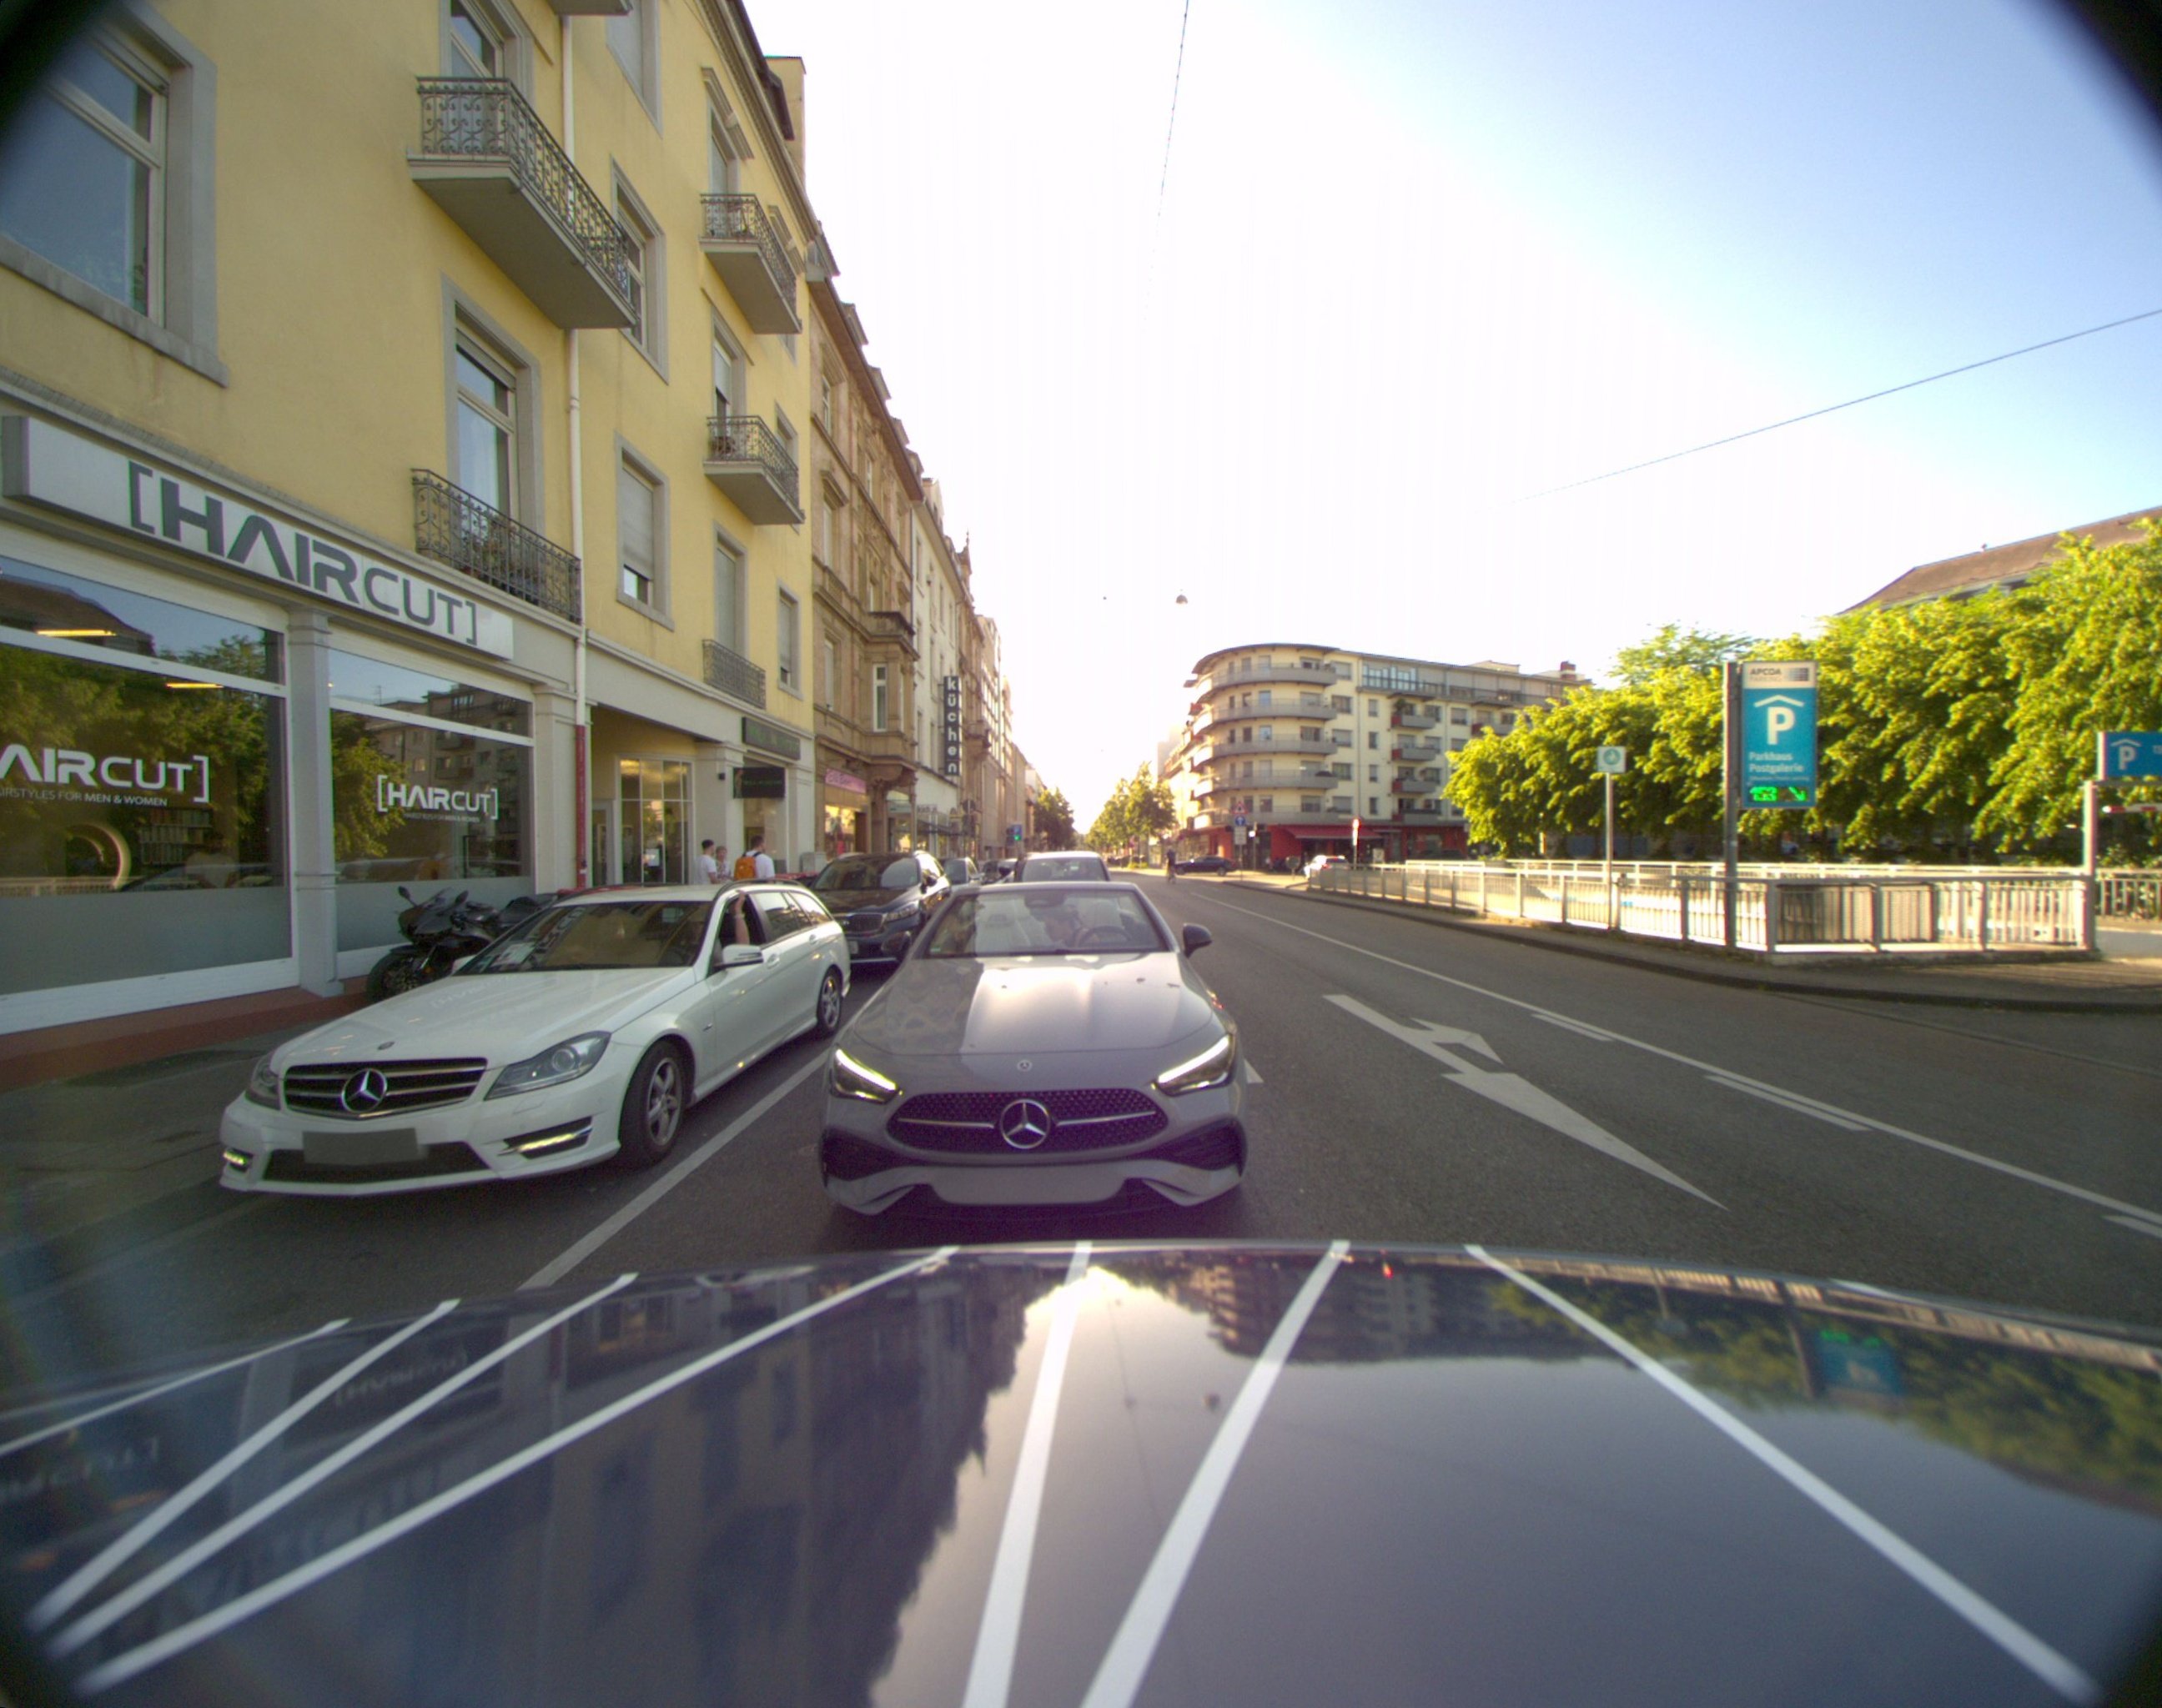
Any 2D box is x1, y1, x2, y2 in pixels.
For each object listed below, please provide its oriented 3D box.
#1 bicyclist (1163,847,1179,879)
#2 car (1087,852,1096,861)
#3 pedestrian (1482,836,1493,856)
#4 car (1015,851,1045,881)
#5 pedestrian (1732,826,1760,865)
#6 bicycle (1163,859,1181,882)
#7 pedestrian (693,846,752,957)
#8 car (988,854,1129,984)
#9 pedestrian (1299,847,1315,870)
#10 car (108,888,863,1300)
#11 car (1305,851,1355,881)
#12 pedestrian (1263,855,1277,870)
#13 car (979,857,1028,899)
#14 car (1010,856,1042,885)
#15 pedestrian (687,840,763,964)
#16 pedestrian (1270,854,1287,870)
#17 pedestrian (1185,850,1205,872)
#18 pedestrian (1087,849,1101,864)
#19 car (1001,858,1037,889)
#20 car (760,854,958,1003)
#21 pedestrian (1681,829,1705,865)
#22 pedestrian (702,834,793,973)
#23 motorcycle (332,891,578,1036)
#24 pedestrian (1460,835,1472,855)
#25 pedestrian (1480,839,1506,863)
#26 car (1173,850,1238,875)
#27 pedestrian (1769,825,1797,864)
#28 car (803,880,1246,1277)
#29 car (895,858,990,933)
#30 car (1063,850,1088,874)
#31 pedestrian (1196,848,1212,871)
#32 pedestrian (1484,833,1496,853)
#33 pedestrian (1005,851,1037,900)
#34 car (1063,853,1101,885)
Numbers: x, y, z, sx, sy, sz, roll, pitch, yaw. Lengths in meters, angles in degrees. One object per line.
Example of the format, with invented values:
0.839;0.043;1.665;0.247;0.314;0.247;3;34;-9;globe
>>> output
4.761;0.465;40.147;0.703;1.700;0.809;1;1;-3;bicyclist
2.296;0.539;166.598;1.836;1.831;3.886;1;1;-2;car
37.172;-0.757;69.528;0.745;1.832;0.685;-1;1;38;pedestrian
-3.154;0.716;47.553;1.695;1.670;3.880;-2;1;-3;car
32.222;-0.392;36.807;0.748;1.852;0.683;-2;1;-13;pedestrian
4.768;0.838;39.874;0.618;1.156;1.957;1;1;-1;bicycle
-6.149;0.795;13.065;0.630;1.826;0.770;-2;1;-7;pedestrian
-0.365;0.895;12.763;1.866;1.658;4.706;-2;1;-2;car
17.123;0.337;57.503;0.960;1.739;1.063;-2;1;27;pedestrian
-3.026;1.073;5.252;1.672;1.364;4.377;-2;1;1;car
13.652;0.619;41.877;1.637;1.521;3.908;-2;1;3;car
14.921;0.665;60.045;0.780;1.191;0.884;-2;1;-10;pedestrian
-3.027;0.903;30.318;1.695;1.482;3.796;-2;1;-3;car
-2.943;0.866;40.955;1.461;1.391;3.362;-2;1;-1;car
-5.664;0.730;12.094;0.975;1.866;0.534;-3;1;-31;pedestrian
15.427;0.653;59.386;0.937;1.191;0.832;-3;1;-24;pedestrian
8.950;0.536;59.694;1.066;1.709;1.083;-1;1;43;pedestrian
1.651;0.366;96.192;1.219;1.826;1.205;-2;1;29;pedestrian
-2.955;0.900;36.686;1.461;1.310;3.363;-2;1;-1;car
-3.013;0.891;11.343;1.806;1.680;4.408;-2;1;-3;car
31.823;-0.386;39.517;0.748;1.832;0.683;-3;1;-21;pedestrian
-4.600;0.645;10.559;0.811;1.812;0.982;-2;2;-5;pedestrian
-6.255;1.024;7.794;0.735;1.124;2.109;2;1;1;motorcycle
36.181;-0.845;71.447;0.685;1.832;0.745;-3;2;-41;pedestrian
28.963;-0.201;53.427;1.275;1.656;1.137;-3;1;-36;pedestrian
8.636;0.573;52.464;4.242;1.521;1.678;-2;1;14;car
33.669;-0.433;36.455;0.748;1.832;0.683;-2;1;-13;pedestrian
-0.281;0.998;5.363;1.769;1.360;4.471;-2;1;-2;car
-3.182;0.906;17.995;1.583;1.514;2.998;-2;1;1;car
-0.437;0.587;56.916;1.695;1.635;3.599;-2;1;-1;car
10.210;0.460;62.898;0.991;1.908;0.789;-3;1;-21;pedestrian
38.363;-1.002;71.306;0.747;1.832;0.684;-2;1;1;pedestrian
-2.200;0.775;27.716;0.836;1.709;0.821;-2;1;19;pedestrian
0.002;0.731;38.677;1.695;1.437;3.575;-2;1;-3;car
